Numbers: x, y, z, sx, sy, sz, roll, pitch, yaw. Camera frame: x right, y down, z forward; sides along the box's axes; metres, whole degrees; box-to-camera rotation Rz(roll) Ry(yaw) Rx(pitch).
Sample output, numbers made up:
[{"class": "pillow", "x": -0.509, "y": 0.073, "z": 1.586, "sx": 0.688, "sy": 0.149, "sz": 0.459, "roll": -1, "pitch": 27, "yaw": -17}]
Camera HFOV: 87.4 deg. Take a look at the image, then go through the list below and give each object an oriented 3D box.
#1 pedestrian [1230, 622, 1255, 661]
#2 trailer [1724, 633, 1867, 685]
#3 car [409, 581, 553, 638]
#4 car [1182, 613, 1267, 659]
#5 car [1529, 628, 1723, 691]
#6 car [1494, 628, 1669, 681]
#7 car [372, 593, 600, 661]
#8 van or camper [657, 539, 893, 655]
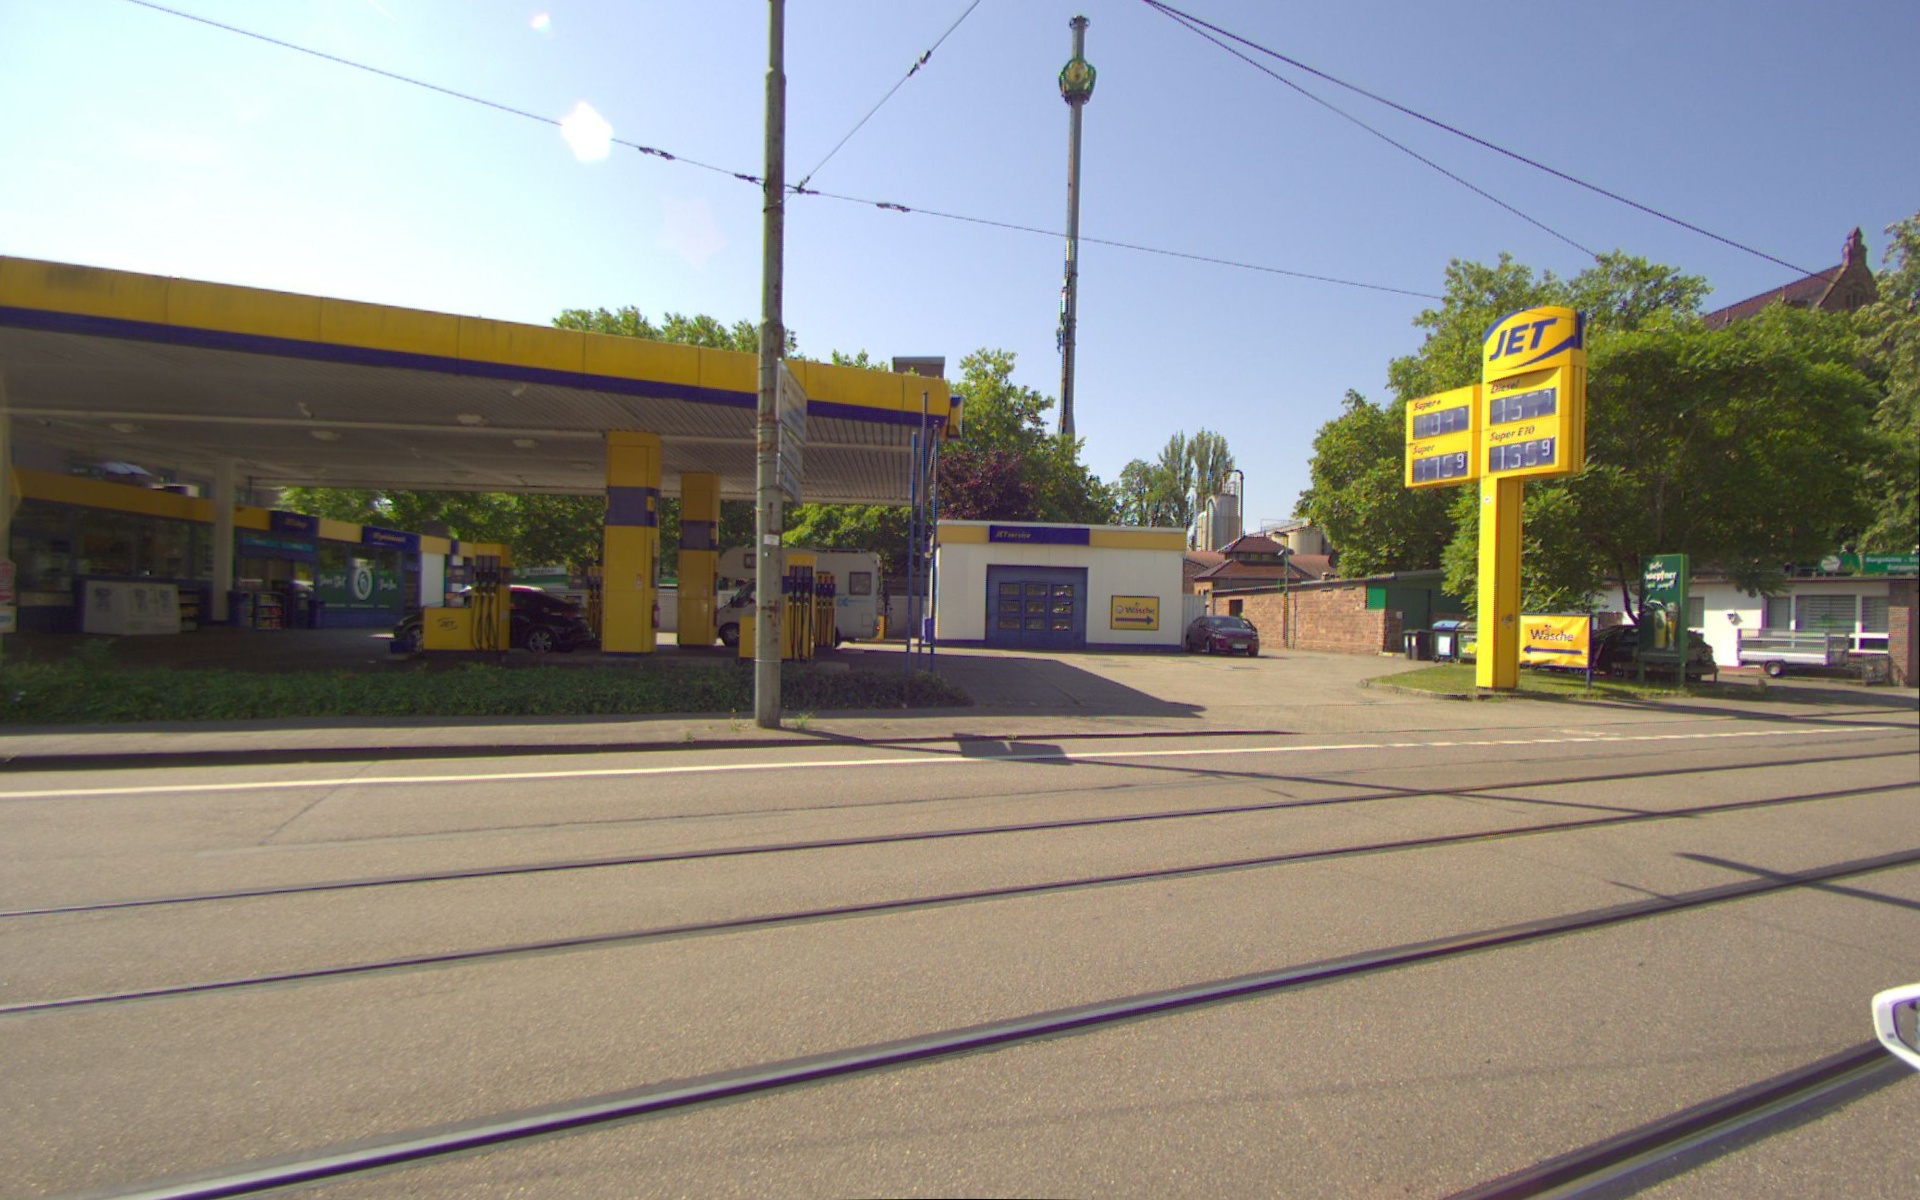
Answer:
[{"class": "pedestrian", "x": 11.160, "y": 1.628, "z": 39.726, "sx": 0.629, "sy": 1.488, "sz": 0.676, "roll": 2, "pitch": -1, "yaw": -19}, {"class": "trailer", "x": 27.619, "y": 1.931, "z": 33.297, "sx": 1.754, "sy": 1.546, "sz": 3.204, "roll": 2, "pitch": -1, "yaw": -26}, {"class": "car", "x": -17.760, "y": 0.332, "z": 37.417, "sx": 4.389, "sy": 1.786, "sz": 1.777, "roll": 4, "pitch": 1, "yaw": -4}, {"class": "car", "x": 9.776, "y": 1.297, "z": 37.503, "sx": 1.900, "sy": 1.547, "sz": 4.171, "roll": 2, "pitch": -1, "yaw": -2}, {"class": "car", "x": 20.061, "y": 1.746, "z": 30.468, "sx": 4.487, "sy": 1.646, "sz": 1.950, "roll": 2, "pitch": -1, "yaw": 17}, {"class": "car", "x": 20.310, "y": 1.747, "z": 33.045, "sx": 4.487, "sy": 1.487, "sz": 1.950, "roll": 2, "pitch": -1, "yaw": 17}, {"class": "car", "x": -10.678, "y": 0.590, "z": 22.851, "sx": 4.305, "sy": 1.320, "sz": 1.701, "roll": 2, "pitch": 1, "yaw": -3}, {"class": "van or camper", "x": -5.437, "y": -0.112, "z": 30.436, "sx": 6.583, "sy": 3.007, "sz": 2.615, "roll": 3, "pitch": 2, "yaw": -2}]
